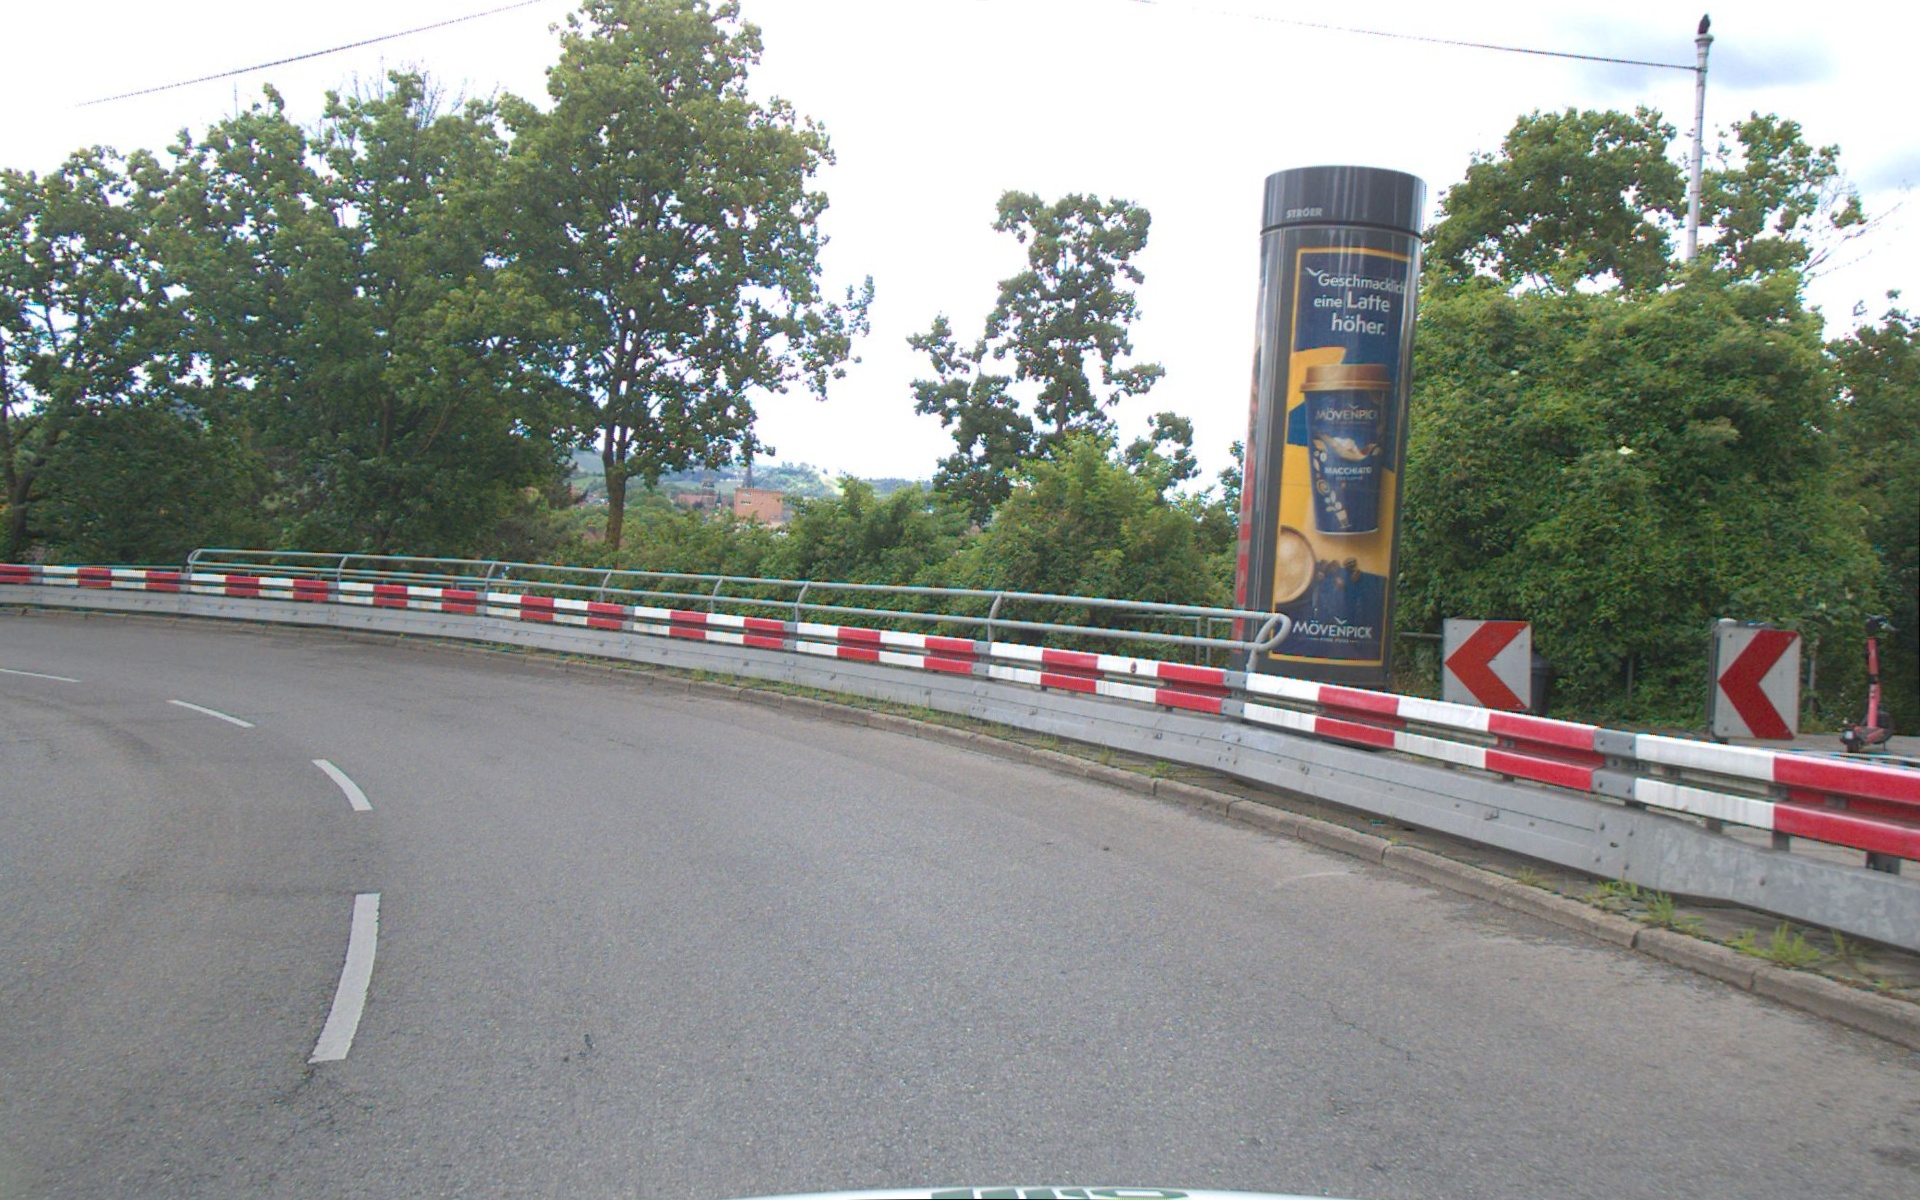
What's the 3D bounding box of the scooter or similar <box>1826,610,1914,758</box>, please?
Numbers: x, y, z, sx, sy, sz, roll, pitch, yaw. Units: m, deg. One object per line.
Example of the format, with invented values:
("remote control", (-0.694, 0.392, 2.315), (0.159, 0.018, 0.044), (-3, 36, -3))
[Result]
("scooter or similar", (8.379, 0.752, 15.201), (0.428, 1.272, 1.494), (3, 1, 38))
